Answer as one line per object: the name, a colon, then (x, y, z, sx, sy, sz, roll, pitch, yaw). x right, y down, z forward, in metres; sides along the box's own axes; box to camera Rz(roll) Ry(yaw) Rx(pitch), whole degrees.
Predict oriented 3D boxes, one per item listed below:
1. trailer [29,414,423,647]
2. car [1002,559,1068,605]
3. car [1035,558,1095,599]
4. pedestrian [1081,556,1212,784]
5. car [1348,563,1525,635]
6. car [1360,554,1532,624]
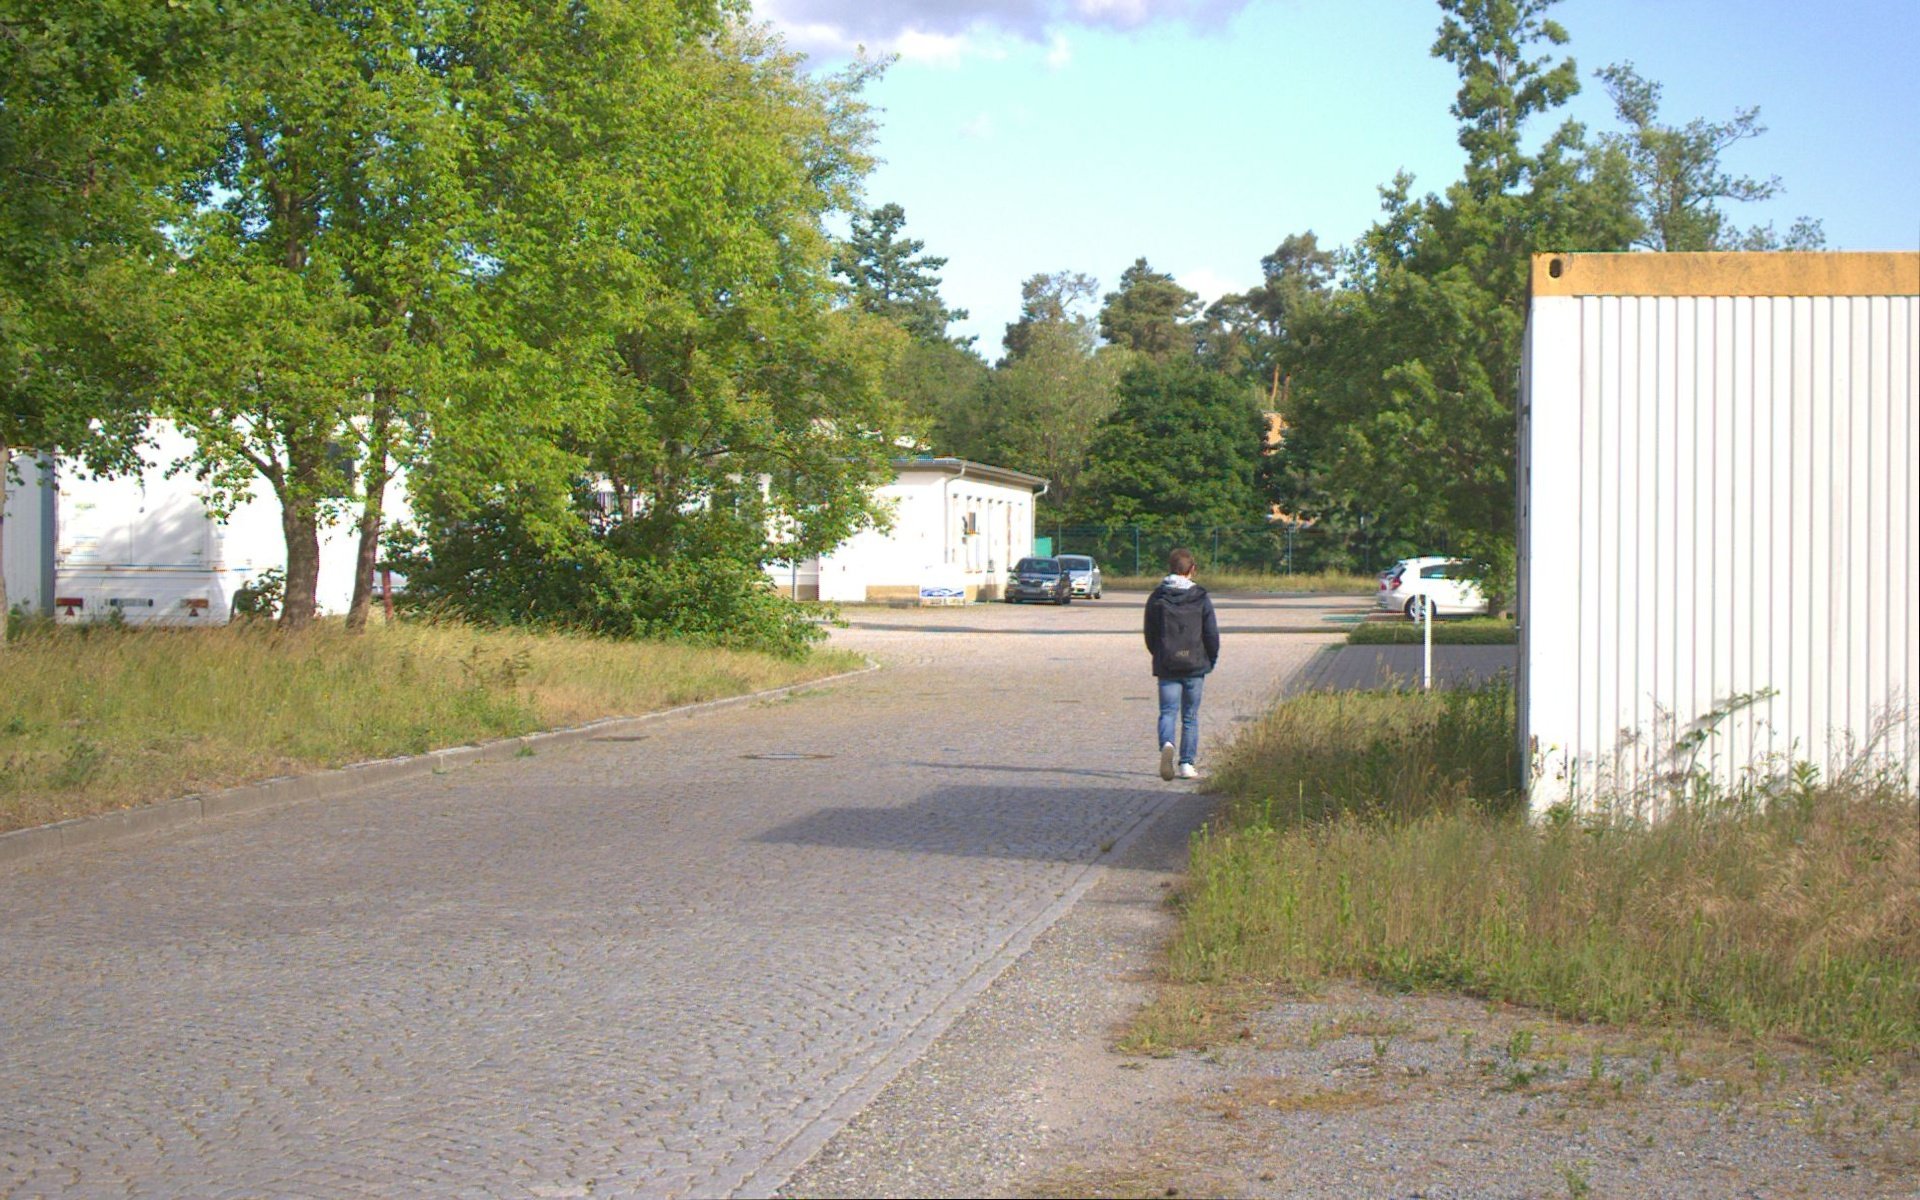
trailer: (-11.782, -1.095, 56.395, 2.918, 3.459, 9.897, 1, 1, 9)
car: (2.311, -0.563, 106.772, 1.993, 1.366, 4.000, 1, 1, 1)
car: (3.554, -0.742, 116.974, 1.993, 1.371, 4.000, 1, 1, 1)
pedestrian: (1.297, 0.473, 24.068, 0.865, 1.553, 1.028, 1, 0, 1)
car: (11.285, -0.037, 81.335, 3.989, 1.637, 1.999, 1, 1, 13)
car: (11.880, -0.280, 83.901, 3.989, 1.637, 1.999, 1, 1, 13)
